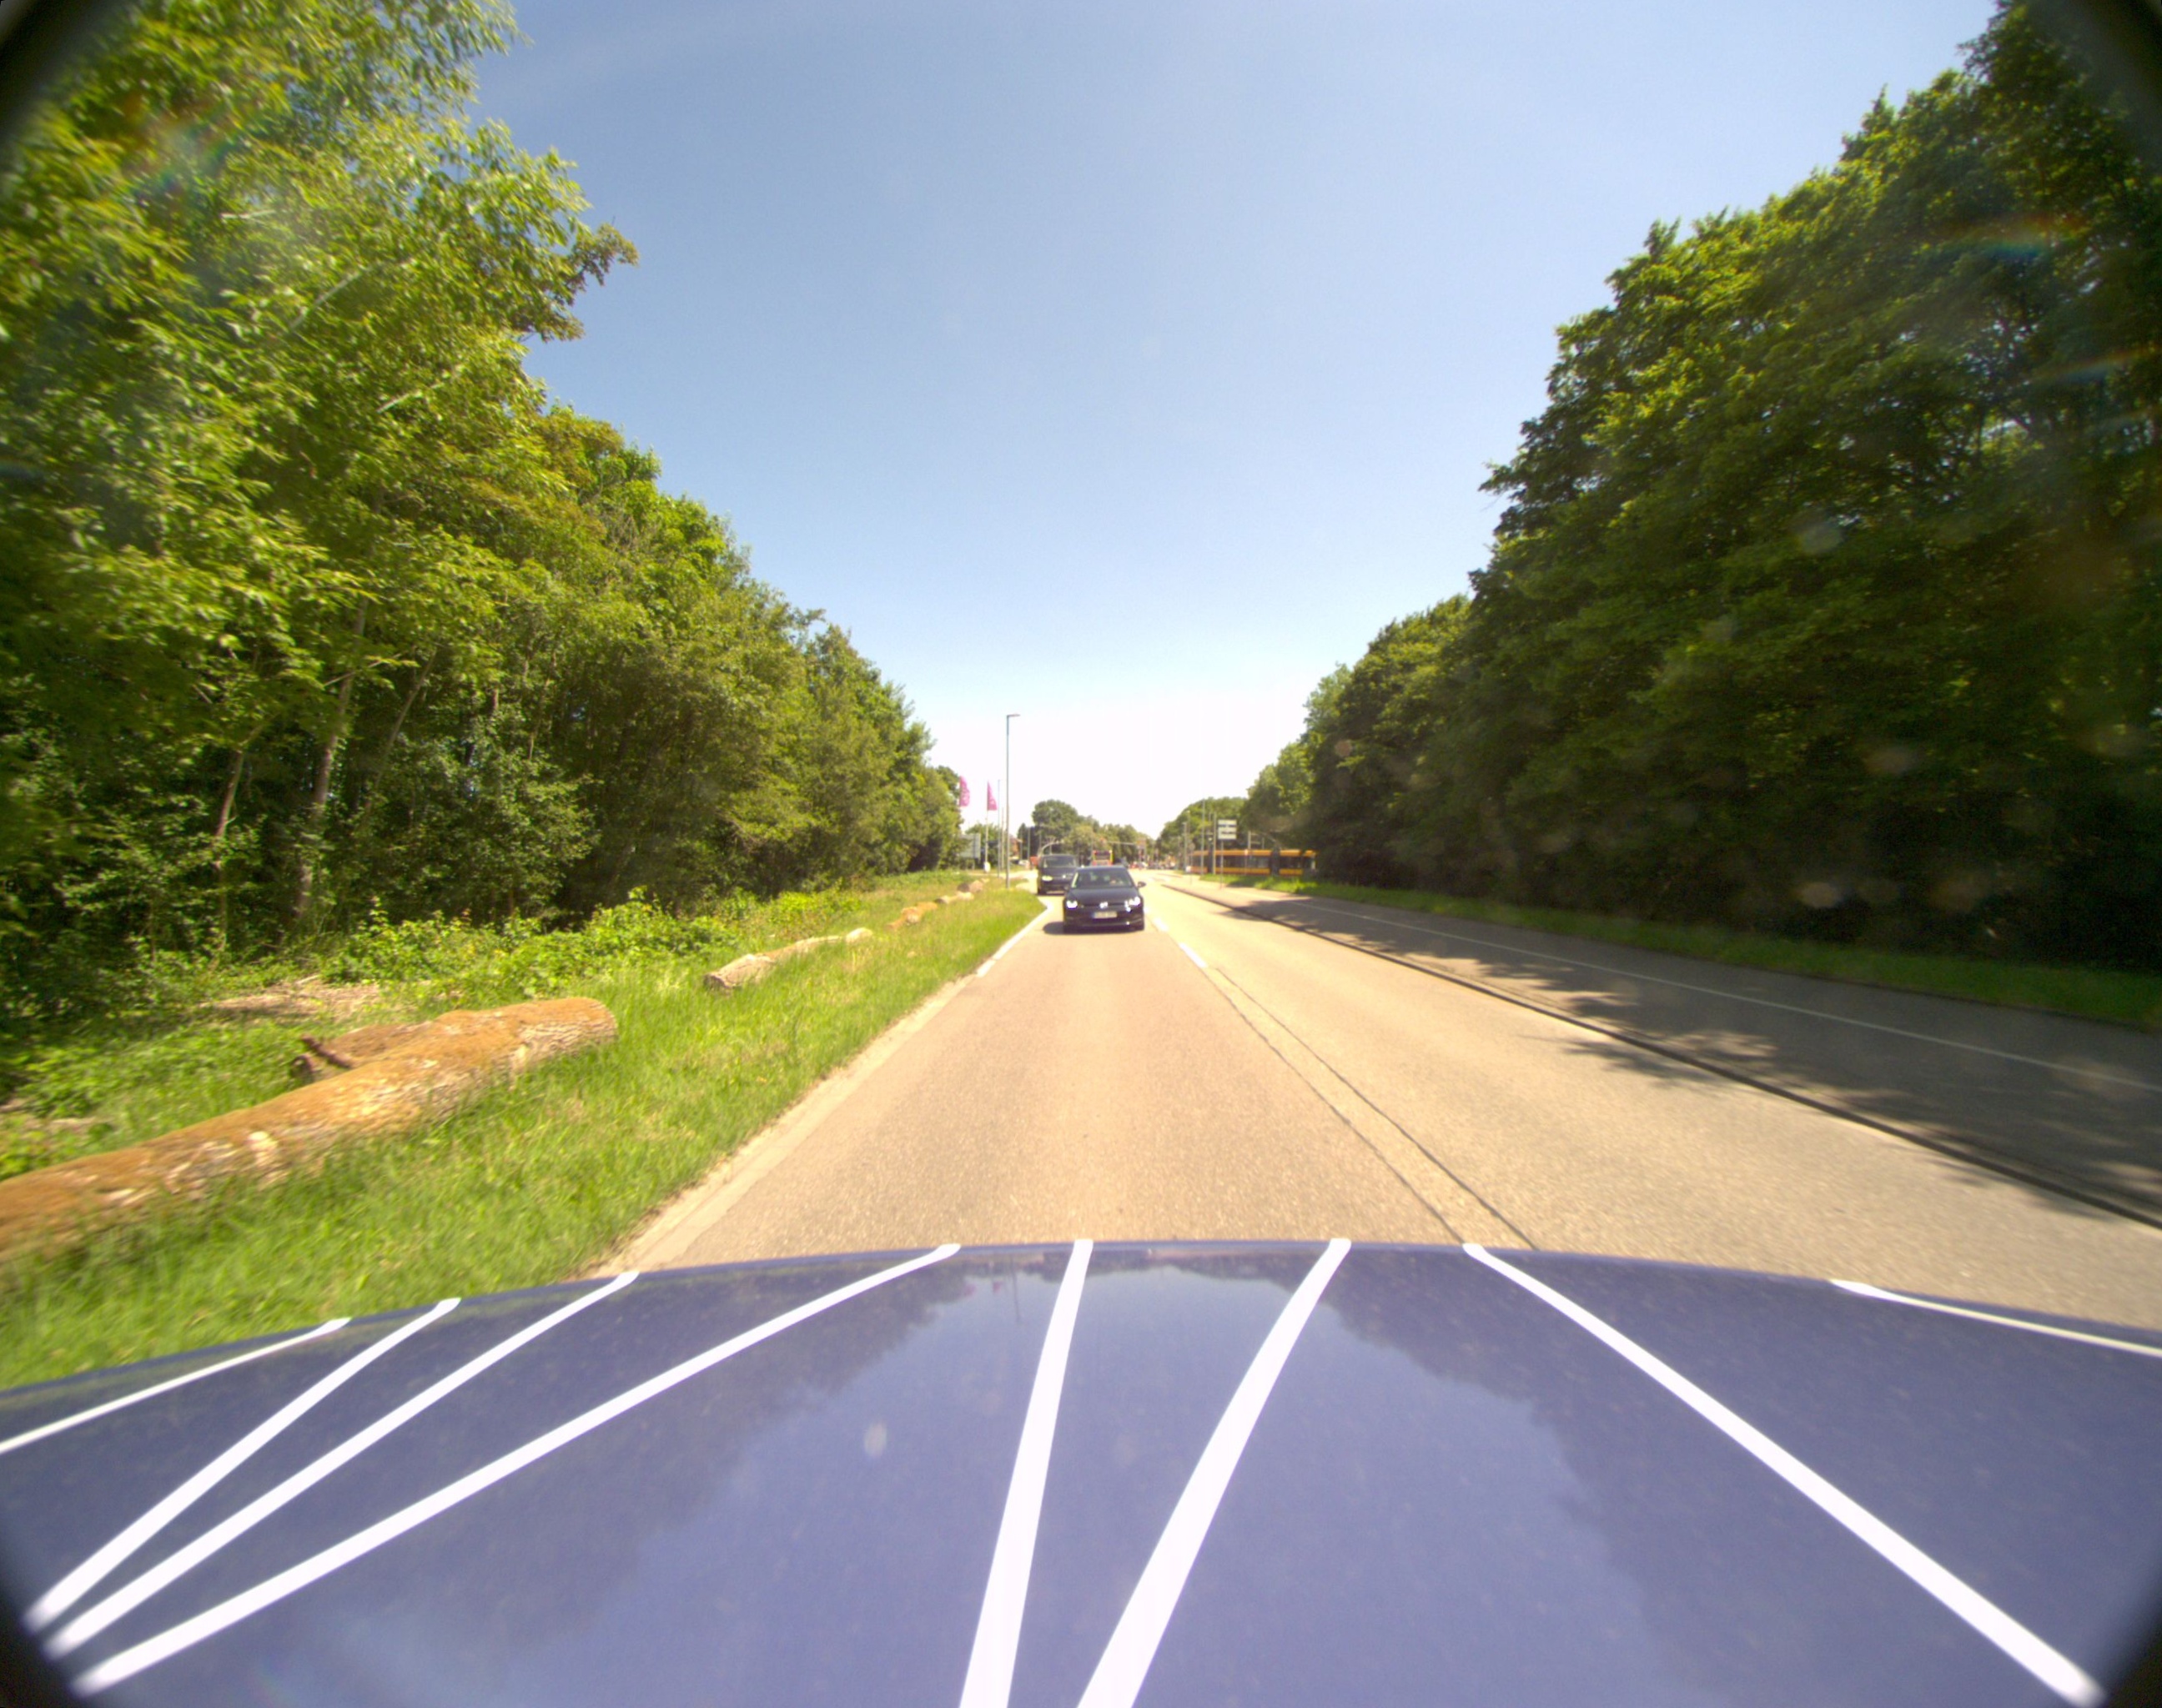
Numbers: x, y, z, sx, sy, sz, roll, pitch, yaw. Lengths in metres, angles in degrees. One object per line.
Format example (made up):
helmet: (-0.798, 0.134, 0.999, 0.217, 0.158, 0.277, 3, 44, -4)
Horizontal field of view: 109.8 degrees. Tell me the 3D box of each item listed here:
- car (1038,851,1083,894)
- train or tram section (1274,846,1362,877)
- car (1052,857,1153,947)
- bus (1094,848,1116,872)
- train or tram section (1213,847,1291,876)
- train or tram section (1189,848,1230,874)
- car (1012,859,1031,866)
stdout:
car: (-0.978, 0.845, 36.292, 2.002, 1.965, 4.449, 0, 0, -2)
train or tram section: (27.271, 0.818, 87.722, 9.325, 3.445, 2.789, 0, 0, 33)
car: (0.511, 0.946, 17.118, 1.887, 1.667, 4.663, -3, 0, 2)
bus: (3.258, 0.845, 104.934, 2.931, 3.247, 8.330, 0, 0, 0)
train or tram section: (21.027, 0.877, 94.355, 2.656, 3.445, 10.827, 0, 0, -31)
train or tram section: (17.511, 0.959, 104.134, 2.579, 3.445, 10.848, 1, 0, -6)
car: (-15.232, 2.170, 194.955, 4.706, 1.770, 2.004, 0, 0, 34)
